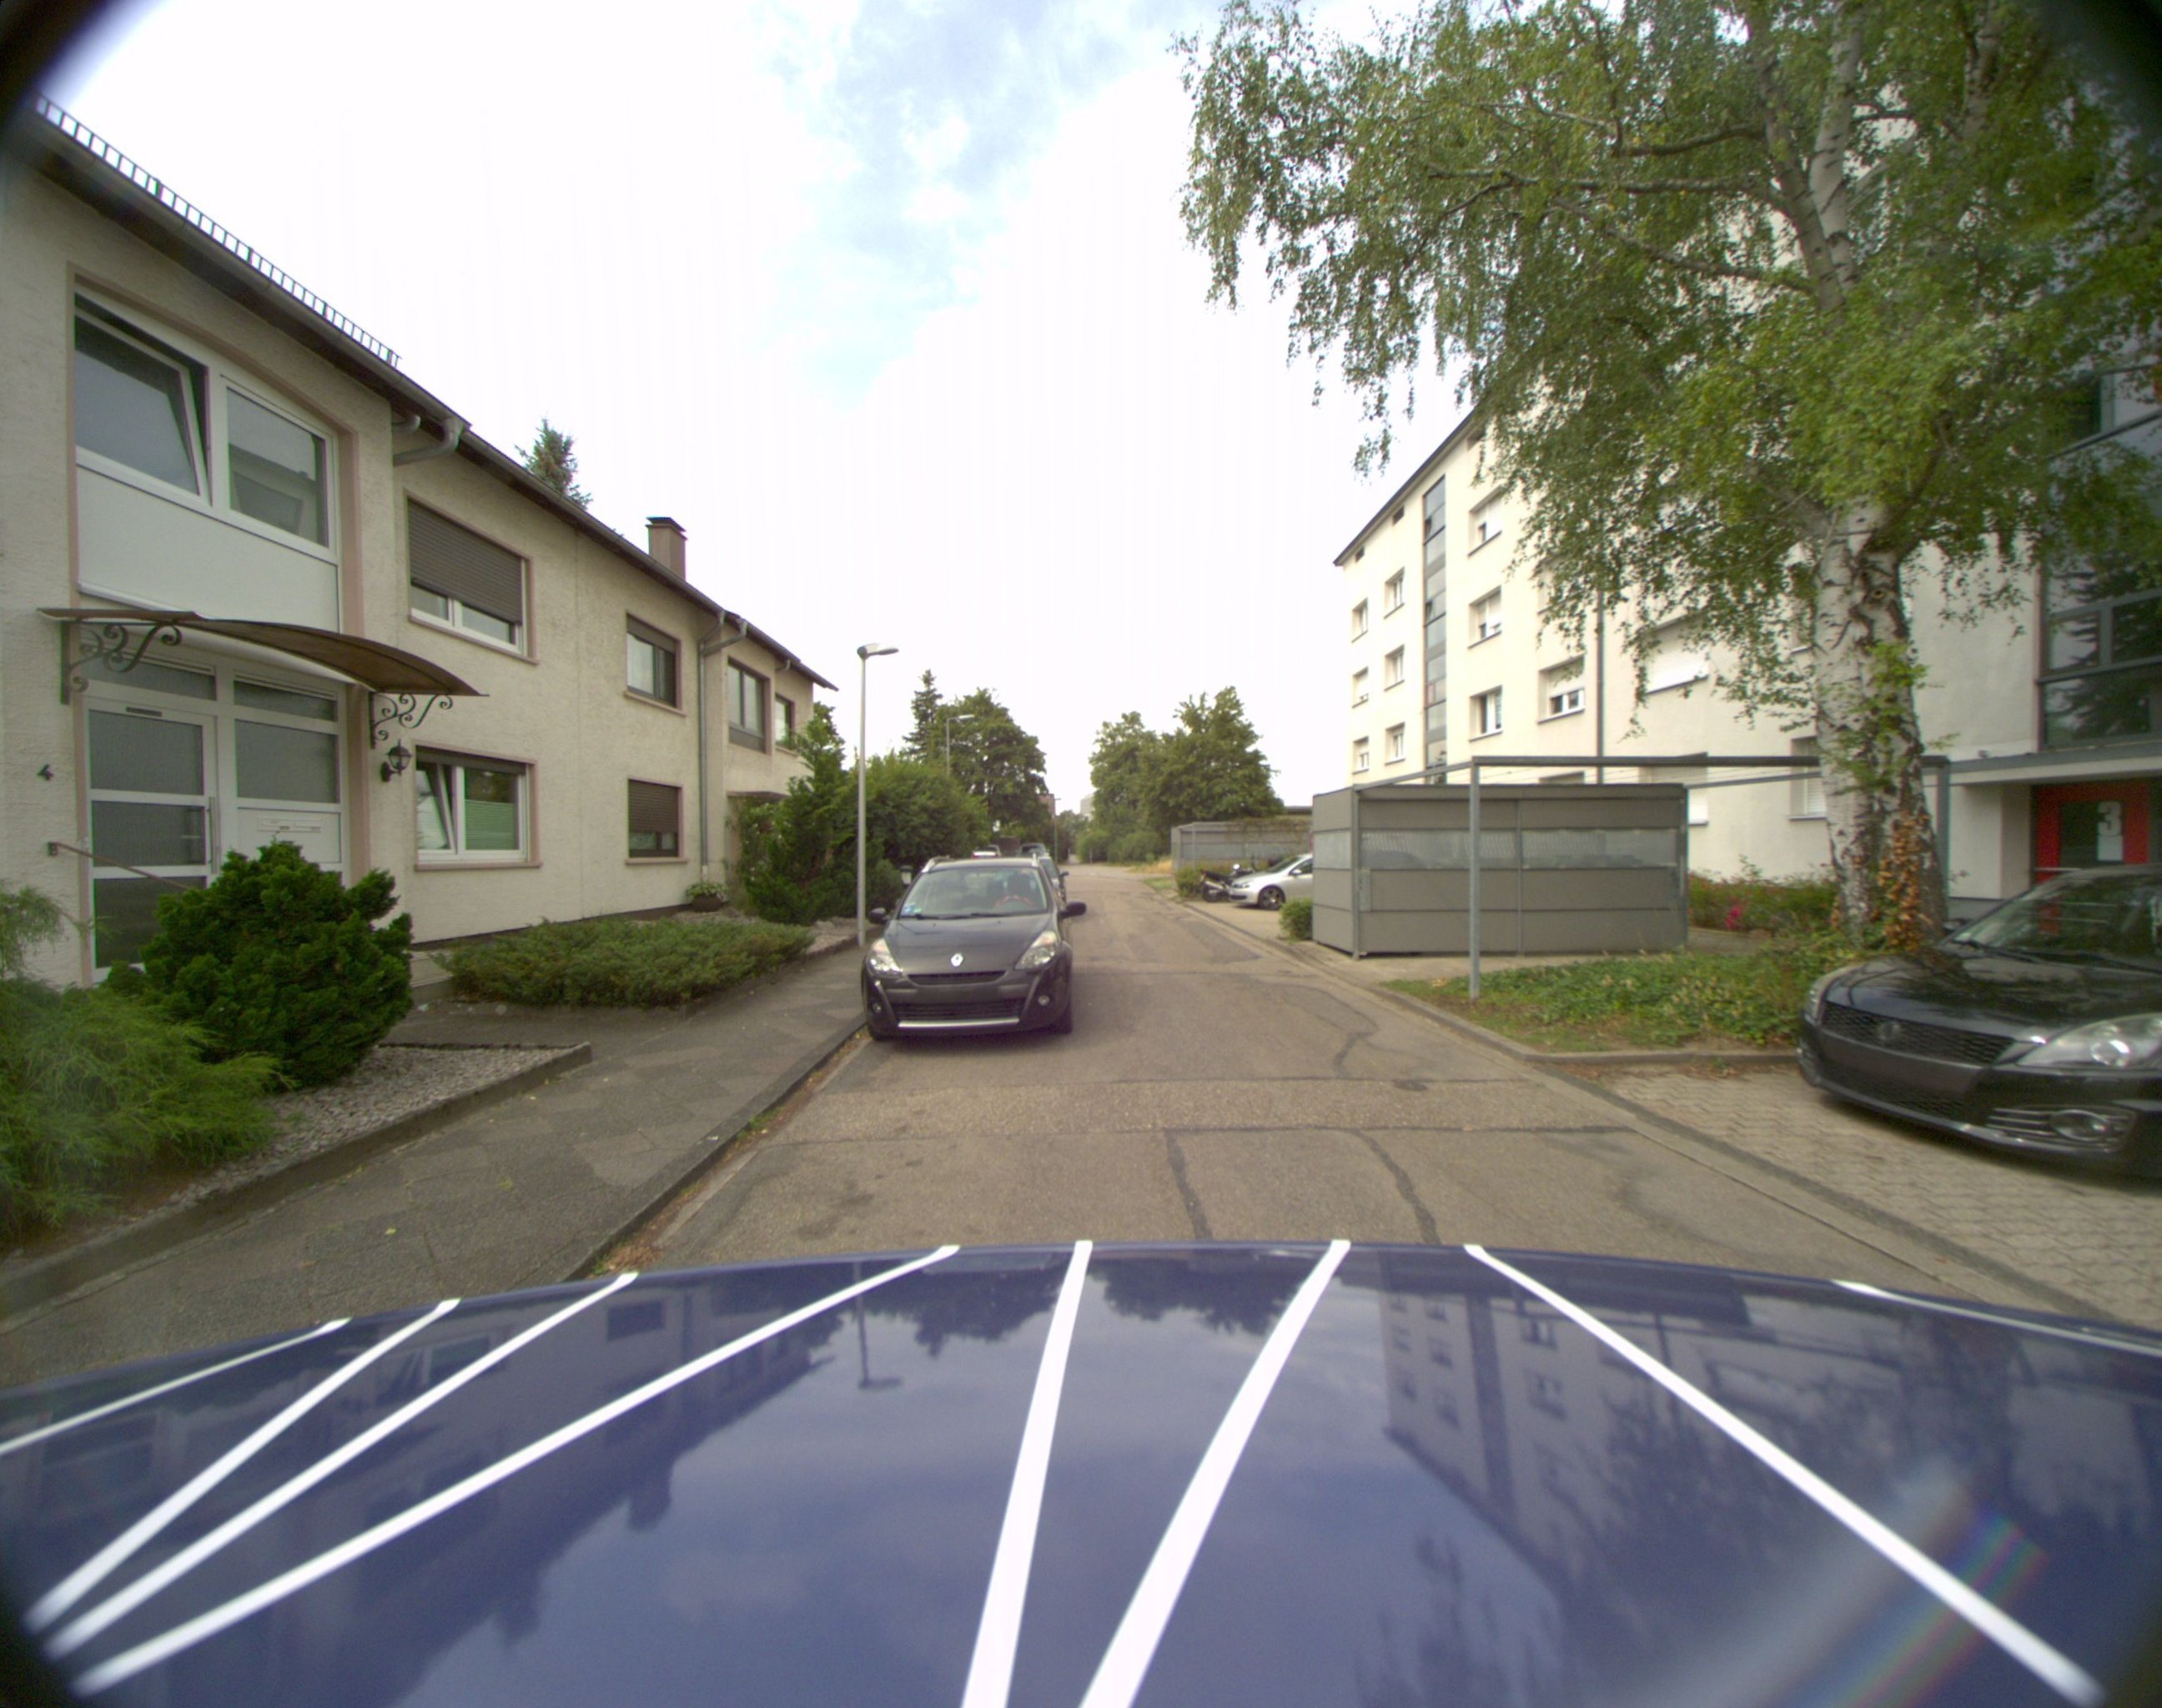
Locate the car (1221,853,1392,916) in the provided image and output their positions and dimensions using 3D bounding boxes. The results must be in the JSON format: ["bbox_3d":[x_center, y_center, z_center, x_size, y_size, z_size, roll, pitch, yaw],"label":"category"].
[{"bbox_3d":[5.933,0.771,20.357,3.997,1.477,1.902,1,1,1],"label":"car"}]

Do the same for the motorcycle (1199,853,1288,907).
[{"bbox_3d":[4.684,0.742,22.010,2.383,1.456,0.714,1,1,-1],"label":"motorcycle"}]

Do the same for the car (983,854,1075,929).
[{"bbox_3d":[-1.167,0.776,17.676,1.834,1.449,4.188,-2,1,-3],"label":"car"}]

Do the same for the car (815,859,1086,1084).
[{"bbox_3d":[-1.003,0.827,7.400,1.834,1.449,4.188,-2,1,-3],"label":"car"}]

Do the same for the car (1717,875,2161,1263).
[{"bbox_3d":[6.107,0.900,3.988,4.062,1.496,1.781,0,1,-1],"label":"car"}]

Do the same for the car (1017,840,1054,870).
[{"bbox_3d":[-2.591,0.023,43.163,1.926,1.576,3.998,-2,1,-3],"label":"car"}]

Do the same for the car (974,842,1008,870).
[{"bbox_3d":[-5.123,0.062,43.742,1.705,1.458,3.997,0,2,-3],"label":"car"}]
